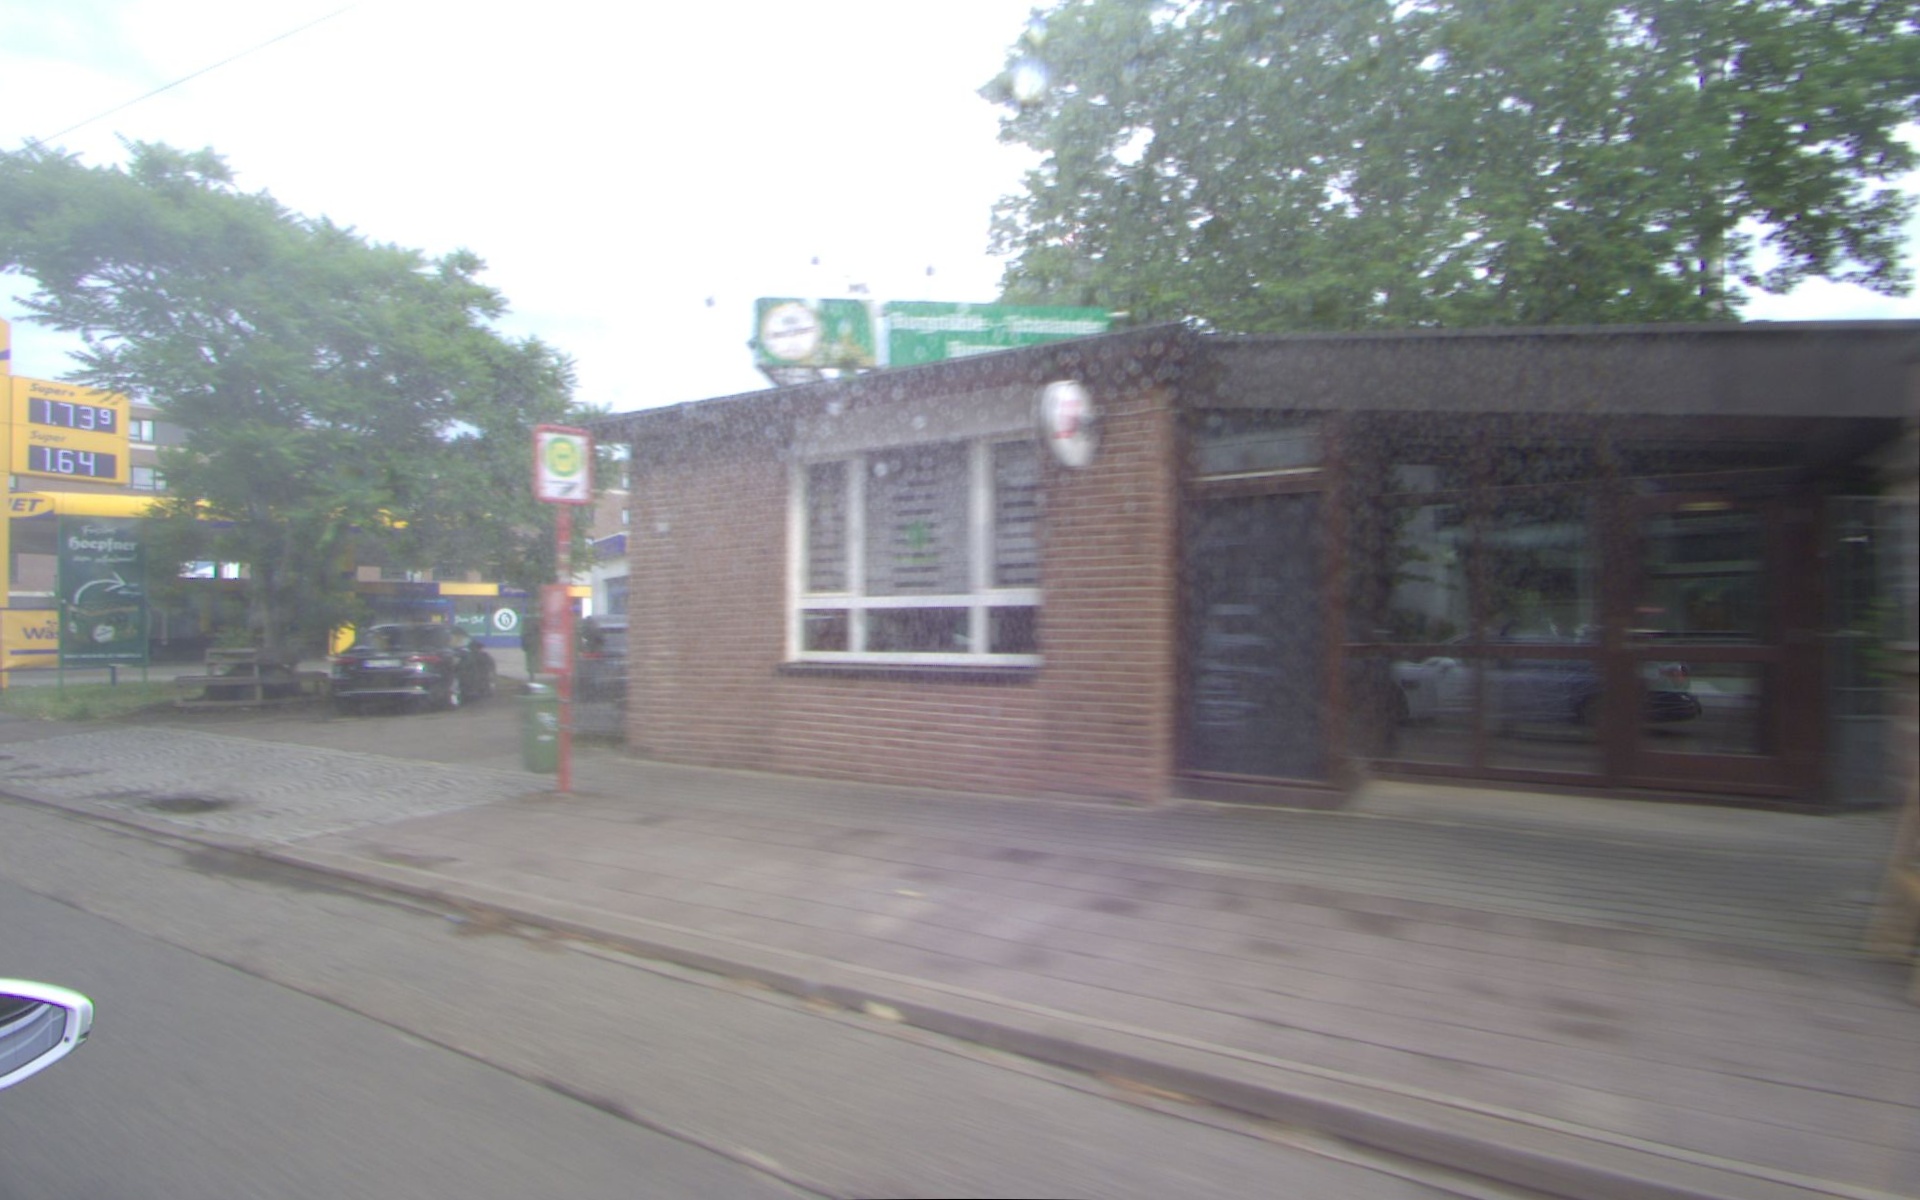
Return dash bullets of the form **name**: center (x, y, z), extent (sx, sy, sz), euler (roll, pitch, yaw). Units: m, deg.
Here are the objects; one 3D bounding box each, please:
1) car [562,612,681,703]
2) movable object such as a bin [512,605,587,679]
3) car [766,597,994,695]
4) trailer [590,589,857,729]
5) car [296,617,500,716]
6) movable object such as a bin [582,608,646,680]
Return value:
- **car**: center (-6.414, 1.004, 19.403), extent (1.844, 1.446, 4.534), euler (-2, 0, -15)
- **movable object such as a bin**: center (-9.038, 0.912, 22.090), extent (1.397, 1.535, 1.121), euler (1, 3, -16)
- **car**: center (-1.416, 0.861, 19.318), extent (1.966, 1.667, 4.409), euler (-1, -2, 37)
- **trailer**: center (-2.937, 0.714, 12.932), extent (1.598, 1.558, 3.155), euler (-1, -2, 33)
- **car**: center (-9.472, 1.034, 17.336), extent (1.900, 1.426, 4.578), euler (0, 0, -14)
- **movable object such as a bin**: center (-7.741, 0.970, 22.457), extent (1.272, 1.510, 1.121), euler (2, 1, -17)
